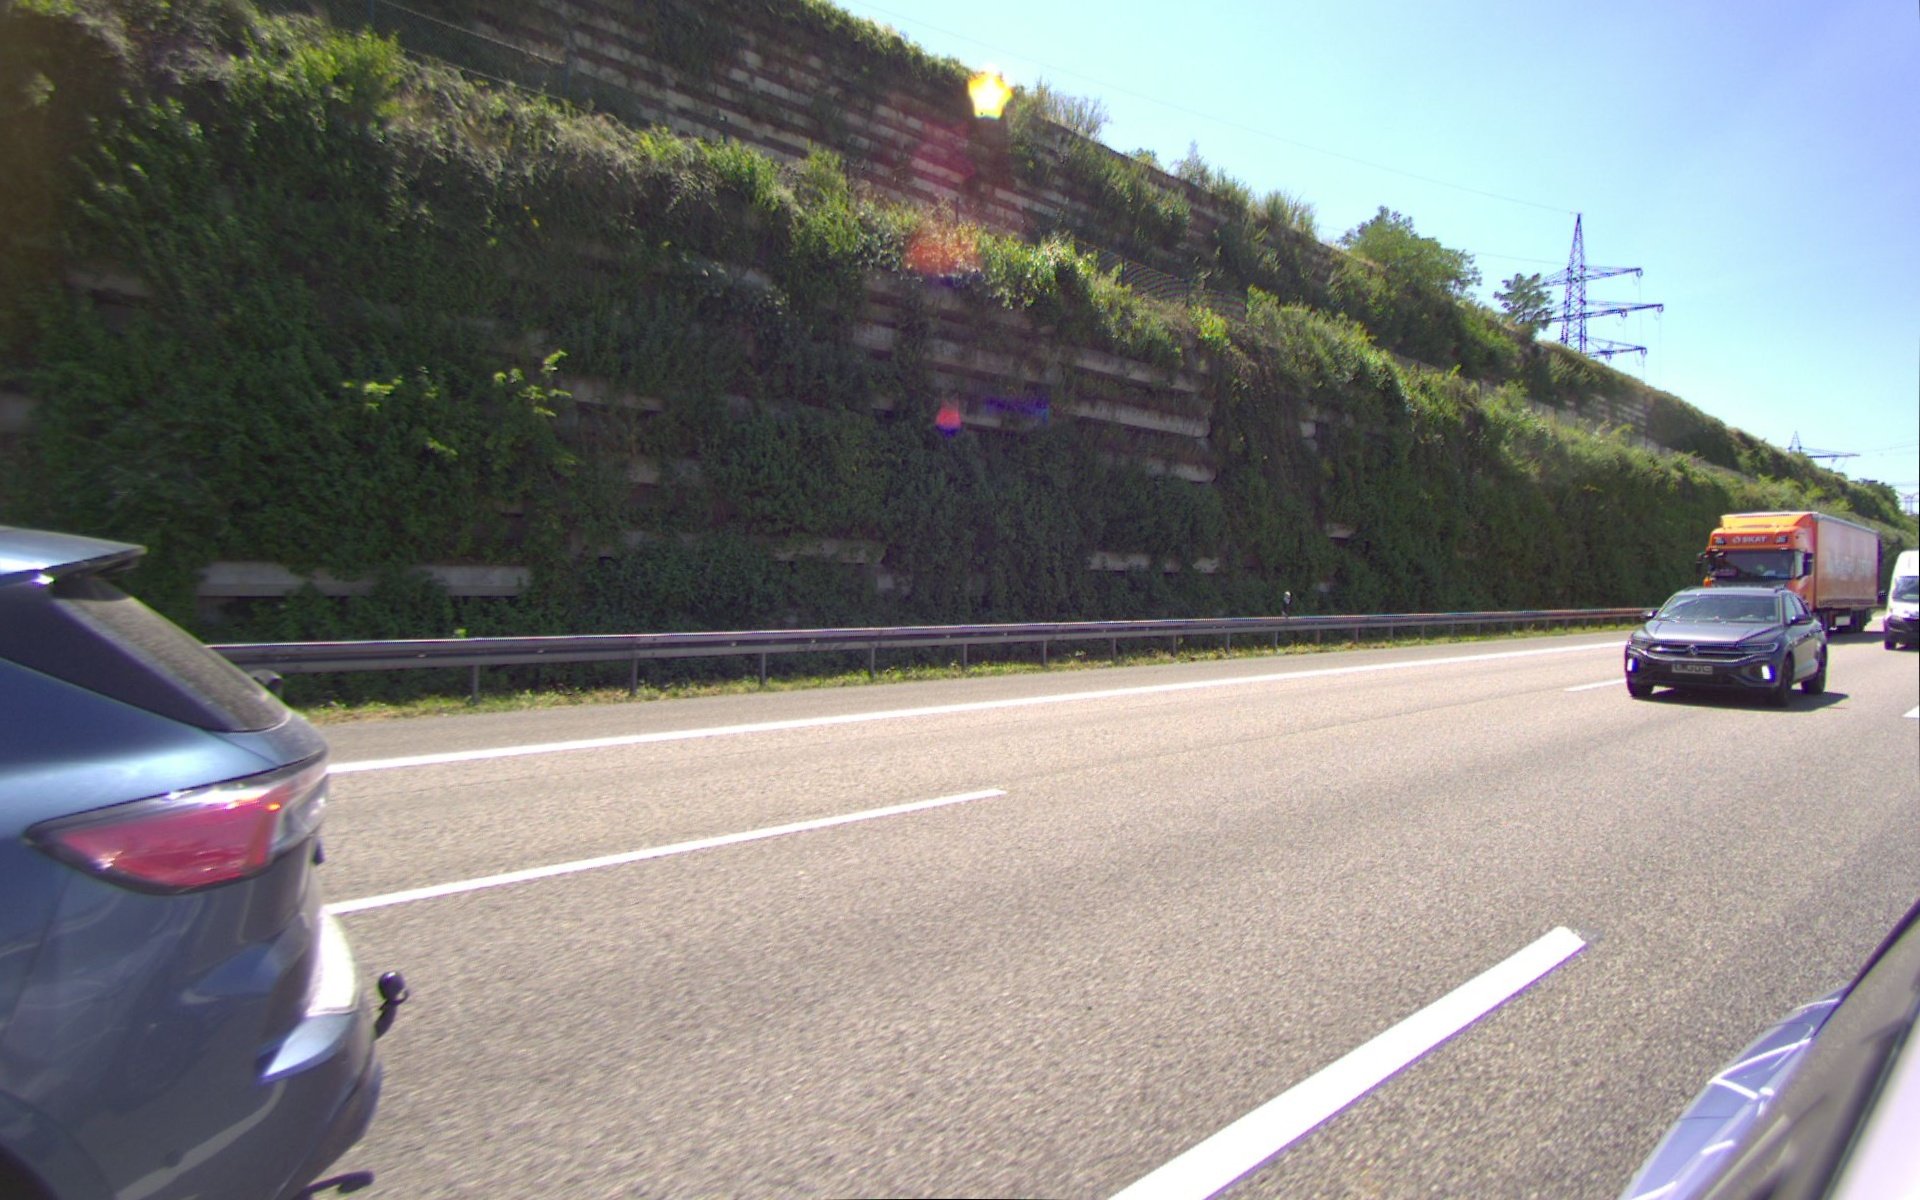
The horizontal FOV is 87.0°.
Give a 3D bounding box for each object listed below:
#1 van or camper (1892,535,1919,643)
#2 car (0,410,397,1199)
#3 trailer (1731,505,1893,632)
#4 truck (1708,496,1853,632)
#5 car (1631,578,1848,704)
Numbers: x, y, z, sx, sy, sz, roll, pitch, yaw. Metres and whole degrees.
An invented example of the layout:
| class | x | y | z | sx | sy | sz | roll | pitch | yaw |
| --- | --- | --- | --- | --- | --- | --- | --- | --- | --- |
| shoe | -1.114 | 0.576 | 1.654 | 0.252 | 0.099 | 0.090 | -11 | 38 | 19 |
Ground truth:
| class | x | y | z | sx | sy | sz | roll | pitch | yaw |
| --- | --- | --- | --- | --- | --- | --- | --- | --- | --- |
| van or camper | 27.605 | -0.290 | 27.960 | 6.641 | 2.803 | 2.100 | 0 | 1 | -42 |
| car | -3.111 | 0.553 | 1.138 | 4.066 | 1.674 | 1.797 | 0 | 1 | -41 |
| trailer | 31.903 | -1.062 | 37.574 | 13.370 | 4.055 | 2.649 | 0 | 1 | -42 |
| truck | 27.018 | -1.118 | 33.227 | 6.413 | 4.042 | 2.622 | 0 | 1 | -41 |
| car | 11.240 | 0.476 | 14.504 | 3.926 | 1.544 | 1.752 | -1 | 2 | -42 |
